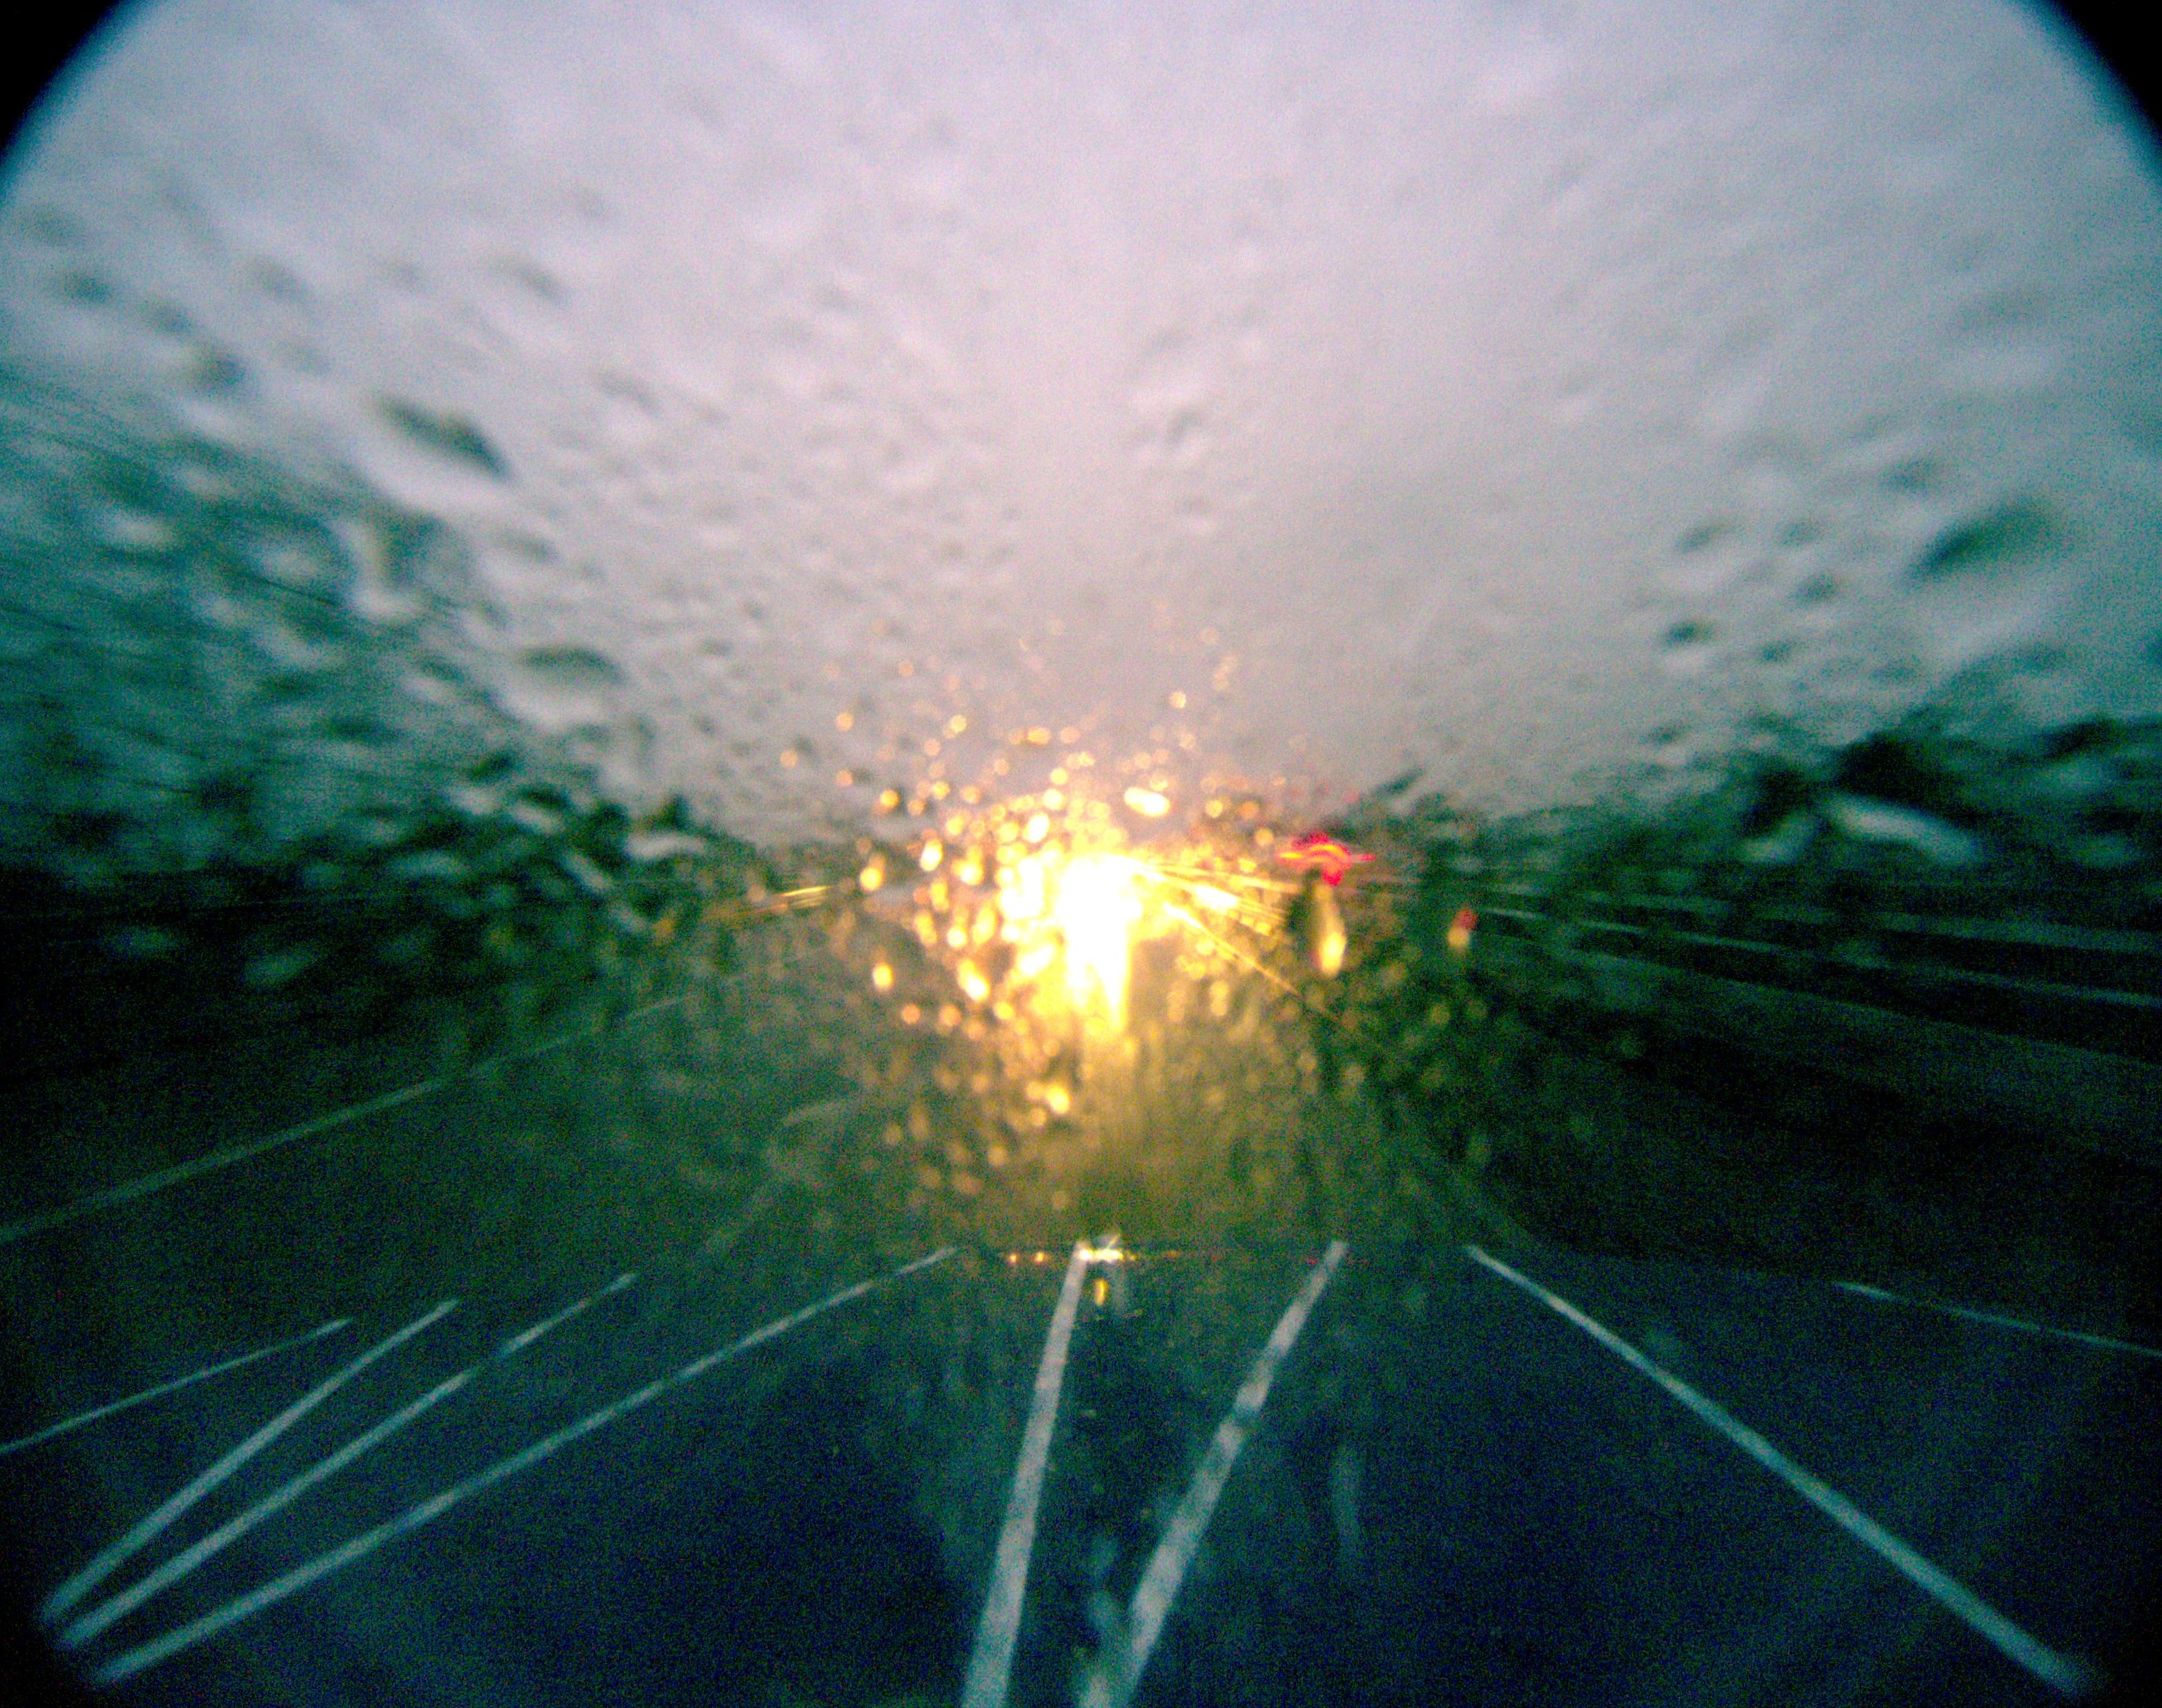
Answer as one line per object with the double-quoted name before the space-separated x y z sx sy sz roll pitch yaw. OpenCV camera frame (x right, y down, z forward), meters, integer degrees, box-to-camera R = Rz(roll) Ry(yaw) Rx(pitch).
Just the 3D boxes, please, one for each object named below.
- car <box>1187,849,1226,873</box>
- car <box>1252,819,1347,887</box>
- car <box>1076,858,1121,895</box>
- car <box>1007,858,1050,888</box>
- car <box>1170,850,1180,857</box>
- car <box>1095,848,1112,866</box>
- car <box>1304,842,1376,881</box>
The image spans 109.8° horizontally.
"car" 8.323 0.449 50.718 1.969 1.493 4.373 -2 0 1
"car" 7.651 -0.027 27.066 2.086 2.135 4.461 -2 0 1
"car" 0.791 0.966 34.023 1.850 1.521 4.149 -2 0 1
"car" -2.860 1.002 41.902 1.850 1.521 4.150 -2 0 3
"car" 23.477 -0.179 189.645 1.899 1.773 4.705 -2 0 3
"car" 2.708 0.346 91.704 1.998 2.002 4.000 -2 0 1
"car" 11.378 0.325 33.651 1.860 1.557 3.922 -2 0 0
